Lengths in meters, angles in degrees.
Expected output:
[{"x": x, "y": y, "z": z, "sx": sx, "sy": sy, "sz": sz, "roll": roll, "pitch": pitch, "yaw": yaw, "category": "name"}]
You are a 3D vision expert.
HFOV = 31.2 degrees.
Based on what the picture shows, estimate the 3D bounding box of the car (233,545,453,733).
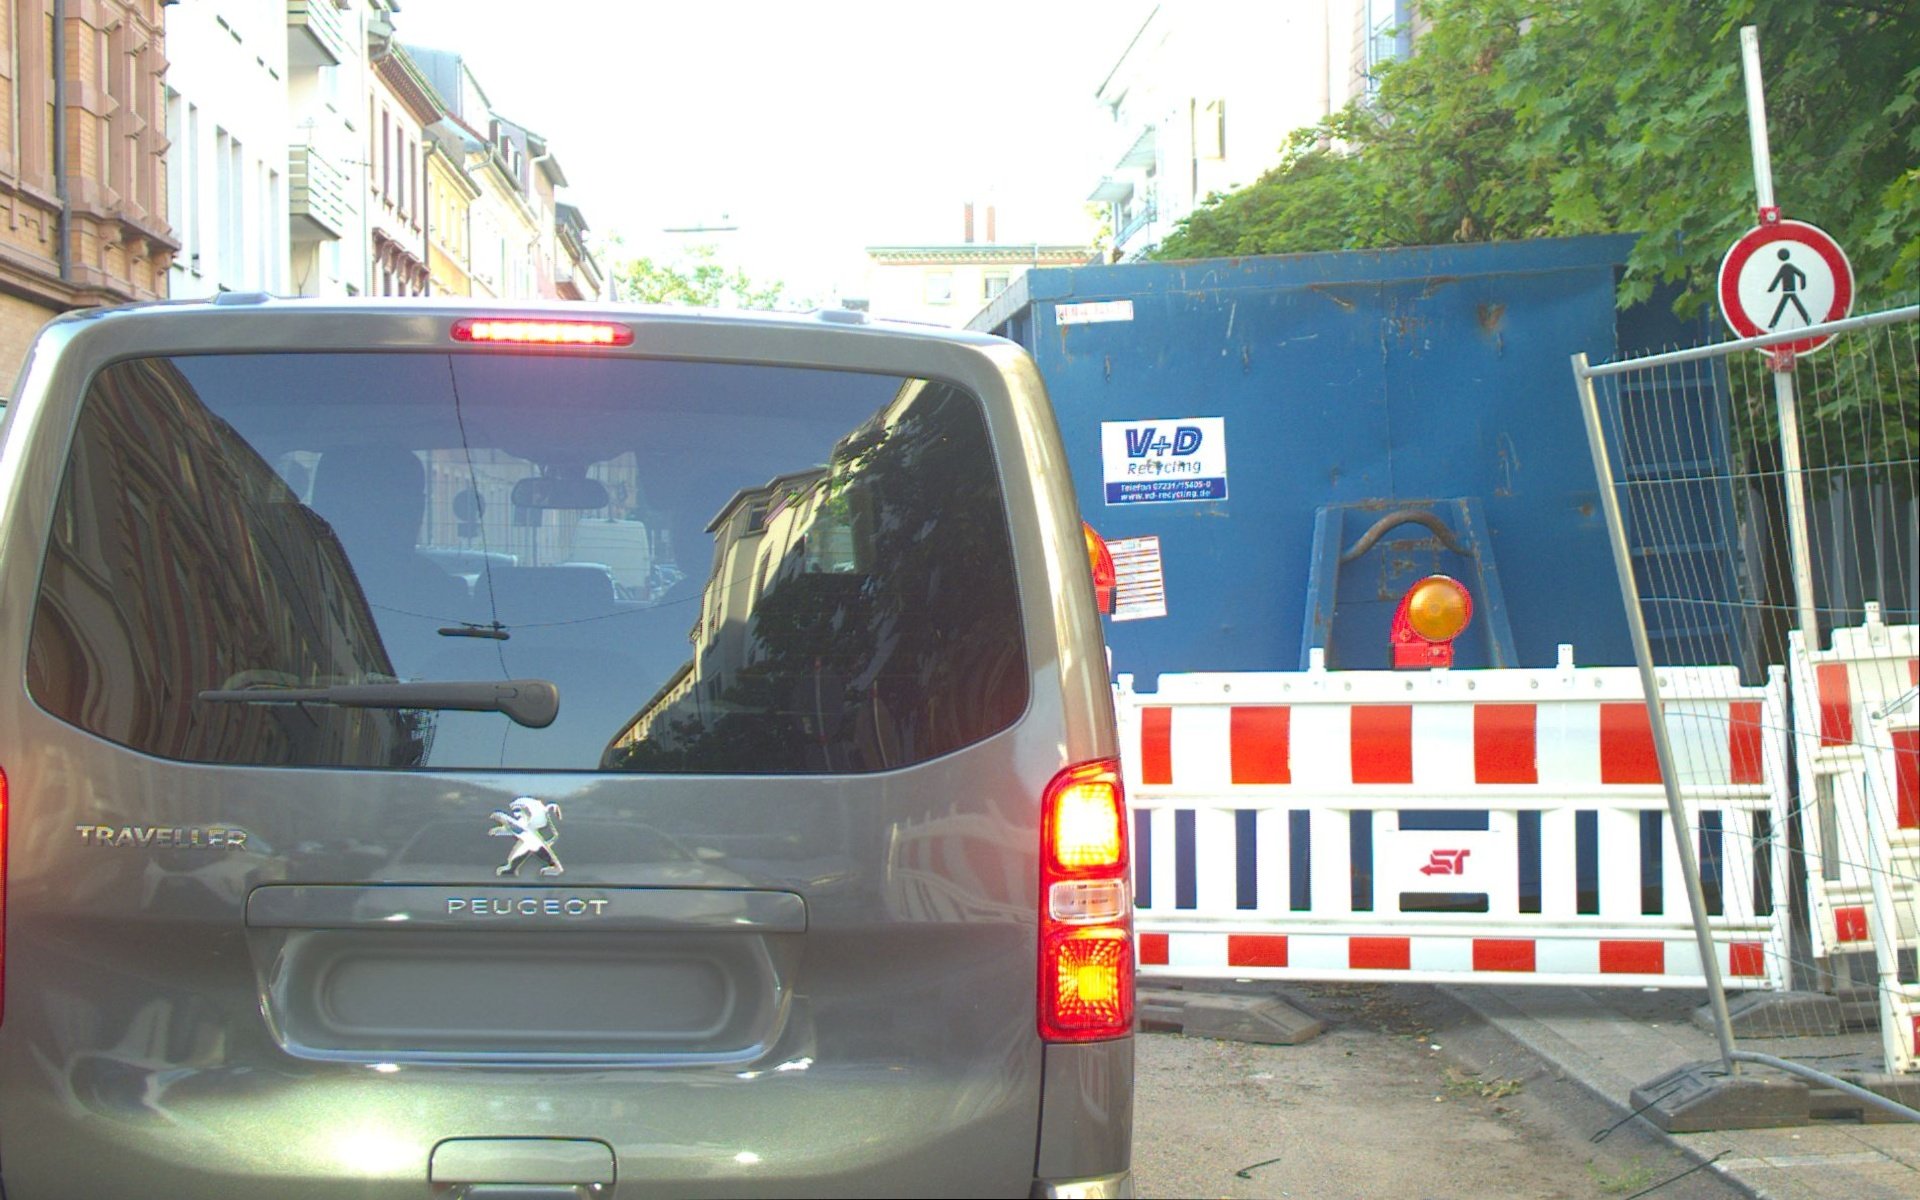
[{"x": -6.302, "y": 0.374, "z": 35.453, "sx": 1.891, "sy": 1.714, "sz": 3.755, "roll": 4, "pitch": 0, "yaw": -7, "category": "car"}]

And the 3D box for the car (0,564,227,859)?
[{"x": -5.200, "y": 0.550, "z": 19.419, "sx": 1.655, "sy": 1.455, "sz": 3.418, "roll": 4, "pitch": 0, "yaw": -7, "category": "car"}]

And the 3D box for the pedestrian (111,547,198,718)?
[{"x": -7.938, "y": 0.312, "z": 33.895, "sx": 0.739, "sy": 1.659, "sz": 0.704, "roll": -1, "pitch": 1, "yaw": -7, "category": "pedestrian"}]

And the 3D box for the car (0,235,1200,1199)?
[{"x": -0.843, "y": 0.453, "z": 6.680, "sx": 1.865, "sy": 1.880, "sz": 4.236, "roll": 0, "pitch": 0, "yaw": -7, "category": "car"}]

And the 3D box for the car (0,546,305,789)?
[{"x": -5.734, "y": 0.447, "z": 24.727, "sx": 1.655, "sy": 1.520, "sz": 3.418, "roll": 4, "pitch": 0, "yaw": -7, "category": "car"}]

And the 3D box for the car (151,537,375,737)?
[{"x": -6.397, "y": 0.322, "z": 31.809, "sx": 1.666, "sy": 1.660, "sz": 3.092, "roll": 4, "pitch": 0, "yaw": -7, "category": "car"}]
